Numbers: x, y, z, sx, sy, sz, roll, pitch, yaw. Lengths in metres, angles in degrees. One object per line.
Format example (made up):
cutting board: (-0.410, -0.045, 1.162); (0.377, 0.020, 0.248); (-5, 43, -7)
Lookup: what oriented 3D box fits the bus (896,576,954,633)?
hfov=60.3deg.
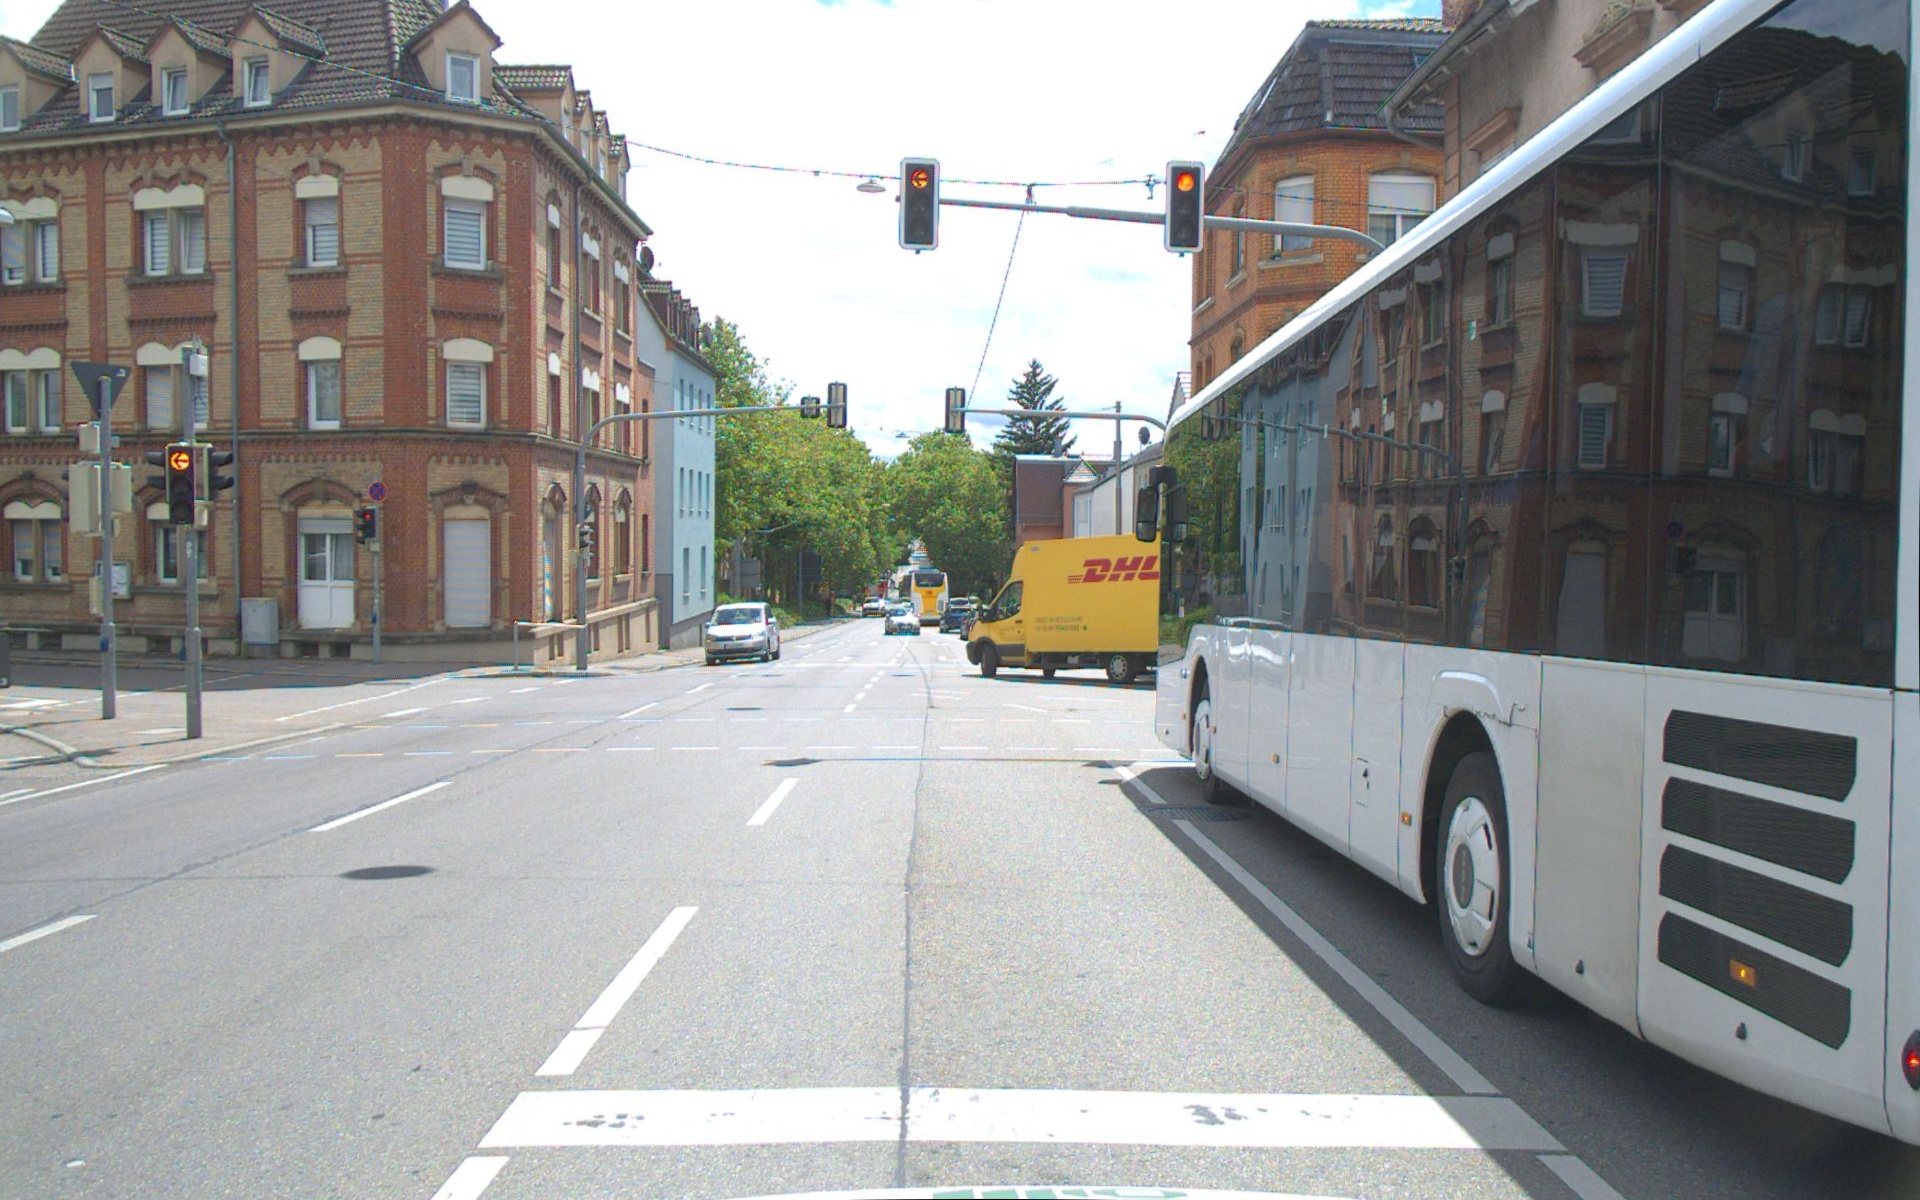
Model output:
bus: (-2.493, 0.295, 113.553); (3.236, 3.694, 11.232); (-1, 0, -5)

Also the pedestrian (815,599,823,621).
pedestrian: (-11.613, 0.853, 136.319); (0.594, 1.789, 0.653); (0, 0, -2)

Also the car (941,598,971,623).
car: (-0.313, 0.789, 129.128); (2.050, 1.862, 4.139); (0, 0, -4)

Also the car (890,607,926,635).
car: (-2.740, 1.085, 87.517); (1.827, 1.391, 4.546); (0, 0, -1)

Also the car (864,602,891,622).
car: (-7.110, 1.008, 142.299); (2.162, 1.641, 4.546); (0, 0, -1)

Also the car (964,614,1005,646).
car: (1.136, 1.402, 78.170); (1.827, 1.391, 4.546); (0, 0, -1)

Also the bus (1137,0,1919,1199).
bus: (3.206, -0.217, 9.323); (2.845, 3.571, 12.484); (1, 0, -1)

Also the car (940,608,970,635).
car: (-0.279, 1.125, 88.204); (1.576, 1.400, 3.999); (0, 0, -1)

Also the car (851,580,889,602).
car: (-12.982, -1.264, 238.604); (2.112, 3.124, 5.586); (0, -1, 44)

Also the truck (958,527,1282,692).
truck: (3.044, 0.172, 32.988); (2.527, 2.964, 6.473); (1, 0, -41)

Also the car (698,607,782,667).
car: (-6.248, 1.025, 47.406); (1.896, 1.591, 4.388); (0, 0, -1)
